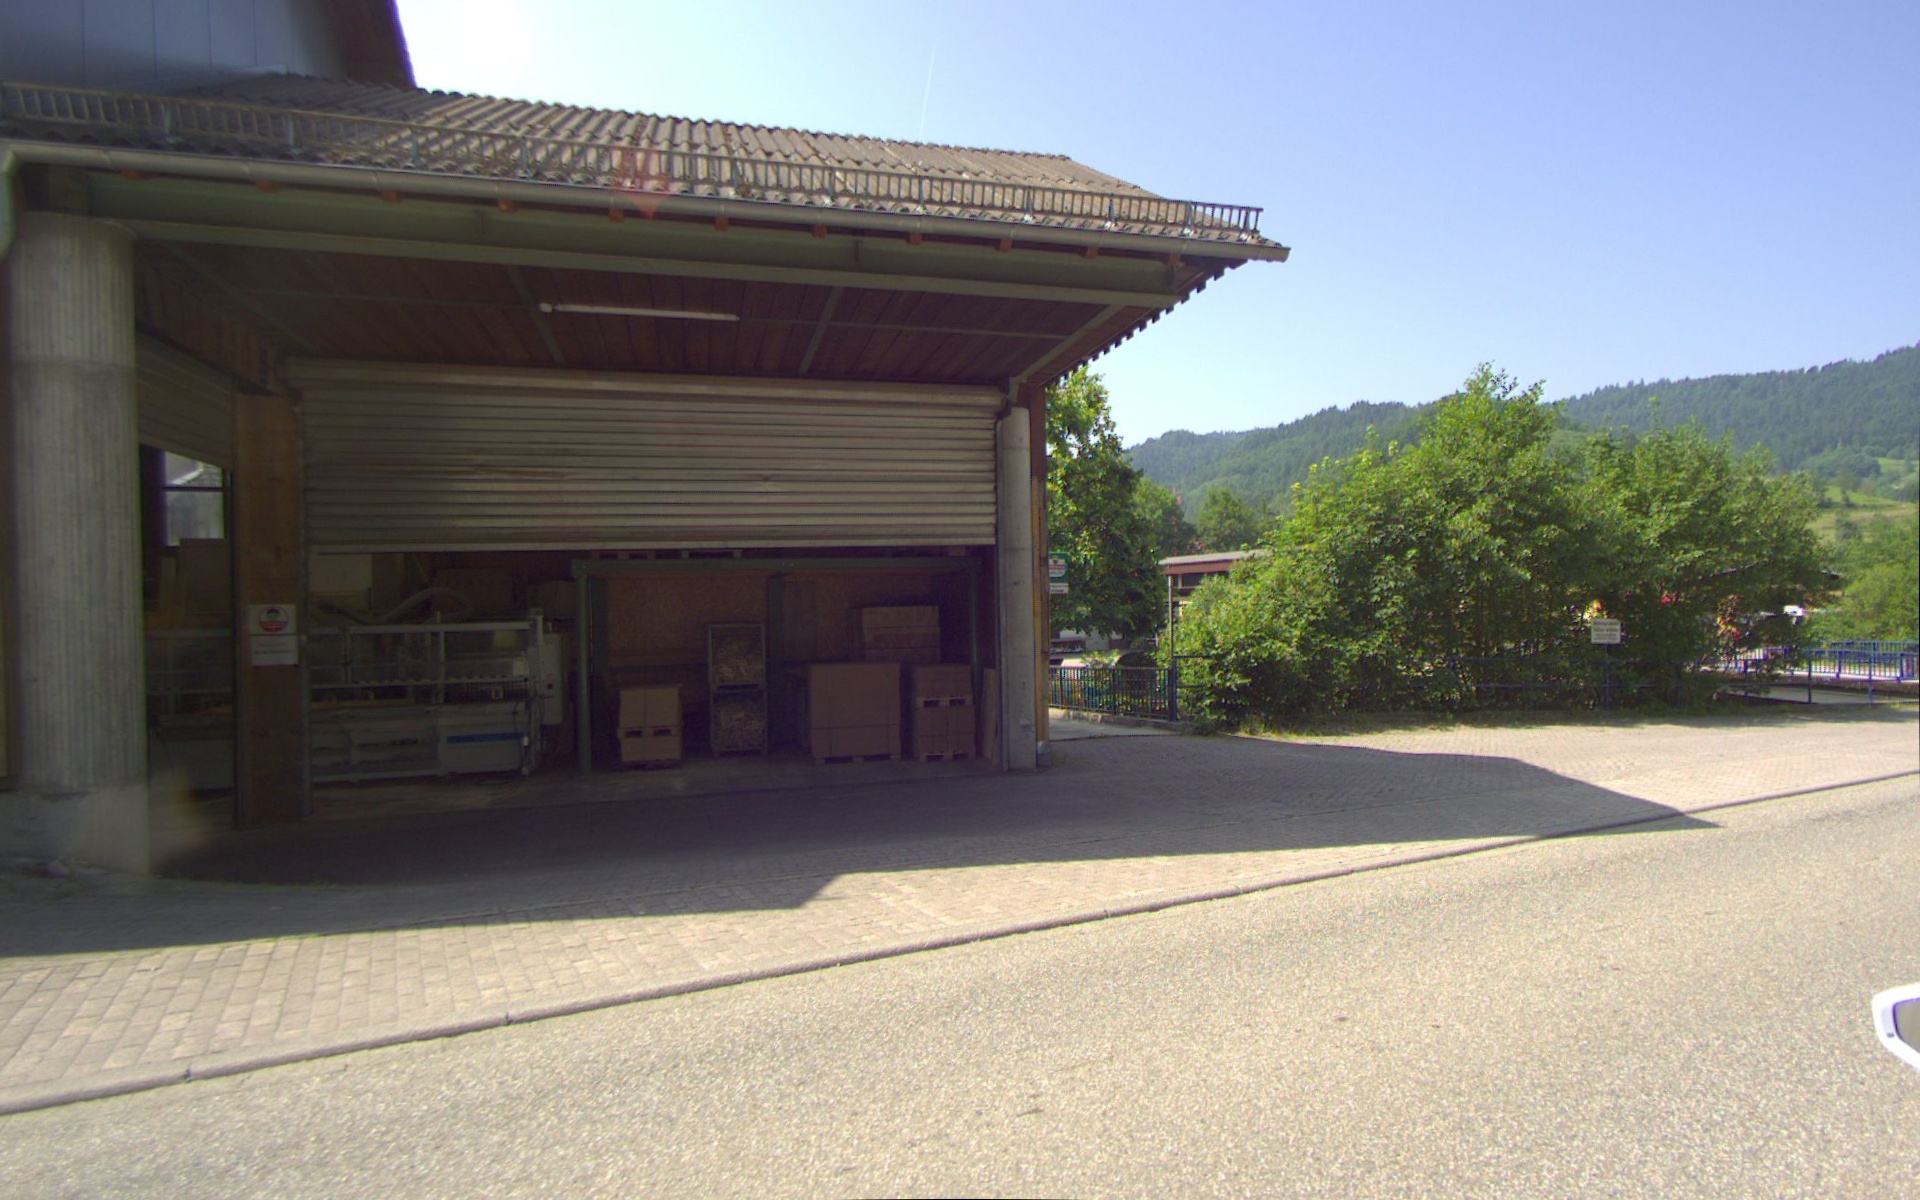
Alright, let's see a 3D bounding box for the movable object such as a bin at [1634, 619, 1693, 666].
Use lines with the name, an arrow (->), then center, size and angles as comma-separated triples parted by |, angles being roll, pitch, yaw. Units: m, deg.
movable object such as a bin -> 32.154, 1.922, 45.956 | 1.114, 2.099, 2.126 | 0, -2, -3
